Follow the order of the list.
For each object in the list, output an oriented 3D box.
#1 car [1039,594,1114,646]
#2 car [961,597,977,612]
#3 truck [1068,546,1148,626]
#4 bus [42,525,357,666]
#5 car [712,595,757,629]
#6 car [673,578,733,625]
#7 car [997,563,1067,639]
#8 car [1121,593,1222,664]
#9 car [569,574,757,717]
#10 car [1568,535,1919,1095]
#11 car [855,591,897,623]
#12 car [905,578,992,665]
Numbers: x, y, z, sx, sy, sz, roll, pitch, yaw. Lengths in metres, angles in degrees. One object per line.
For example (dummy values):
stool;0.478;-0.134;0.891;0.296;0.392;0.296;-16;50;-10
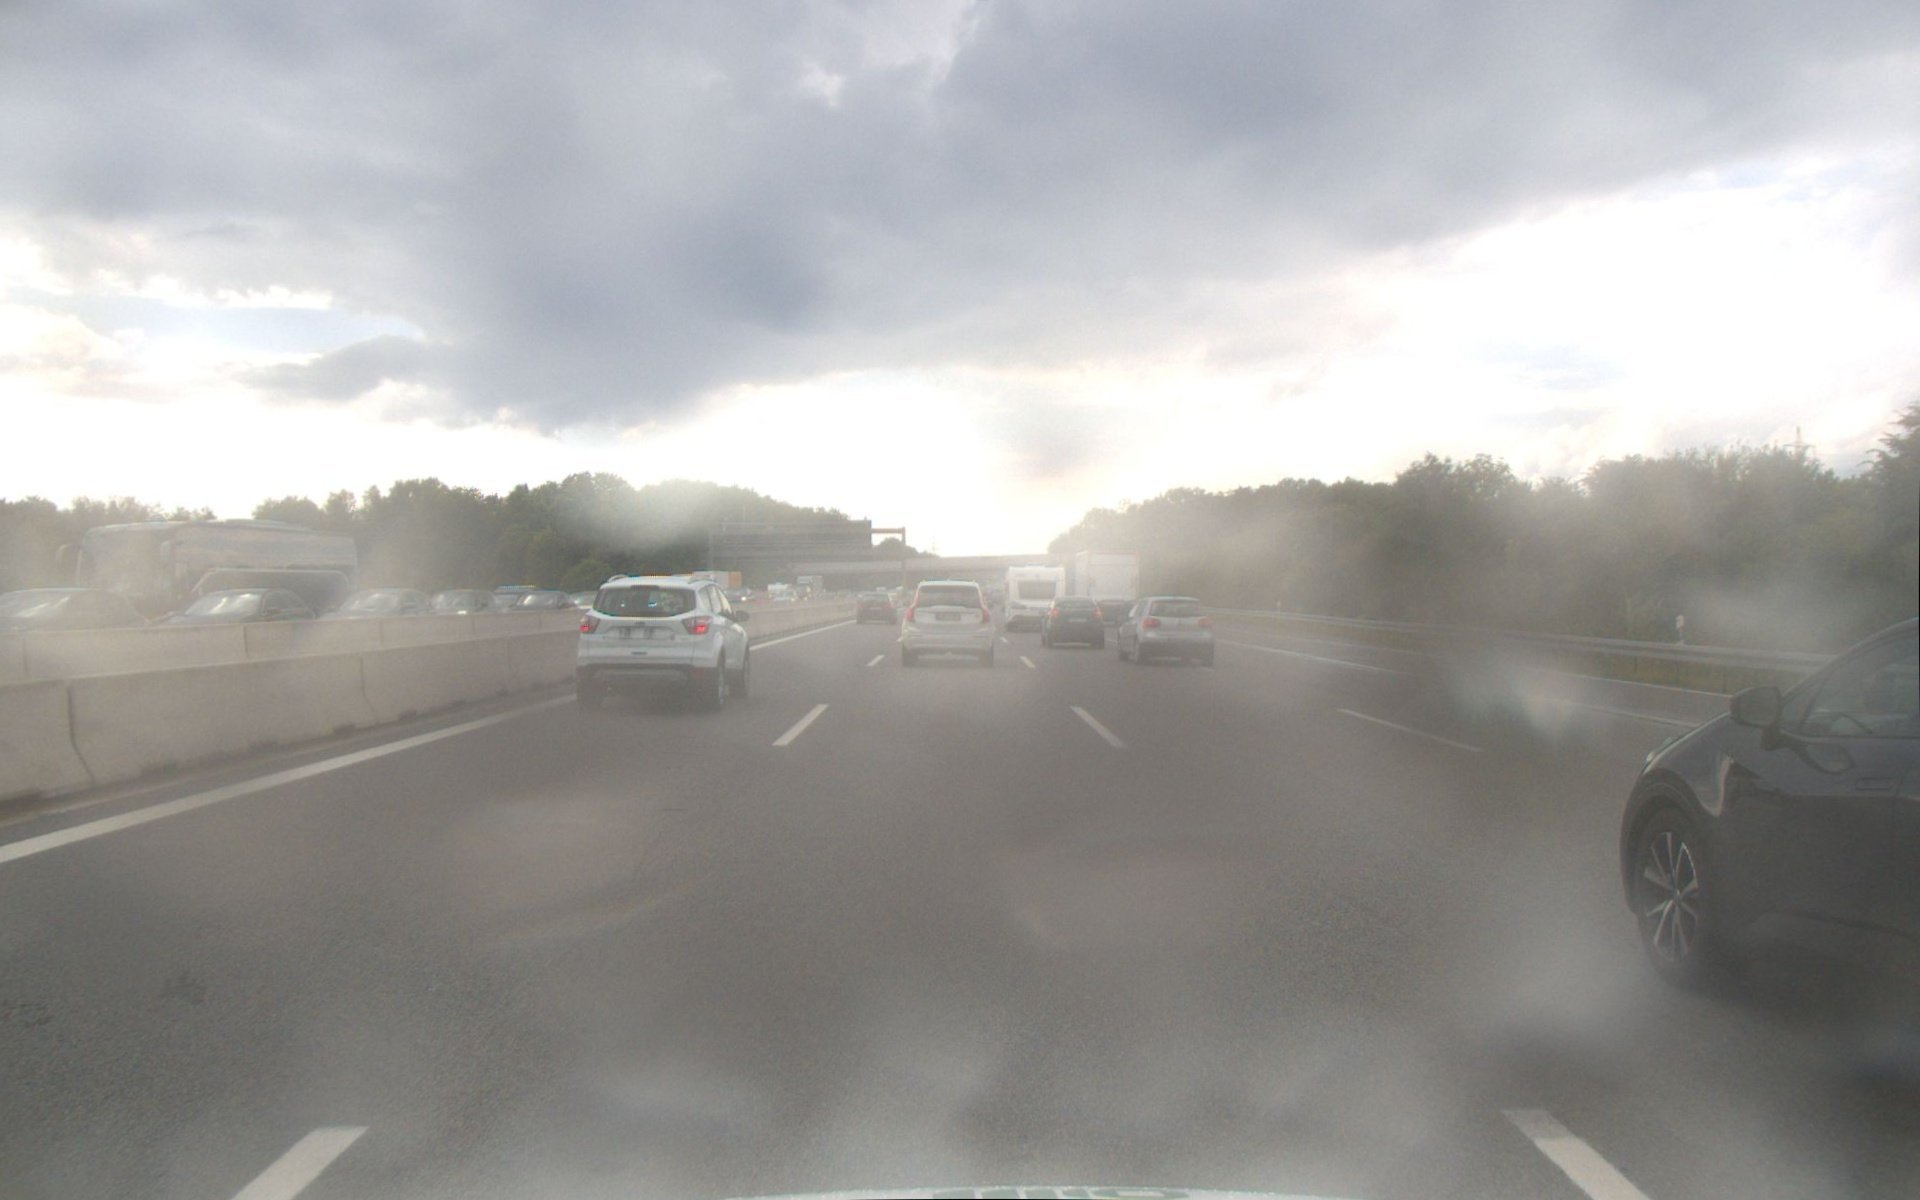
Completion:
car;3.327;0.556;48.079;1.846;1.431;4.282;0;0;0
car;1.069;0.536;200.179;1.843;1.715;3.998;0;0;-2
truck;7.314;-0.666;83.098;3.069;3.774;9.846;0;0;-1
bus;-21.281;-0.137;47.757;2.632;3.444;13.997;0;0;0
car;-13.317;0.712;97.886;1.952;1.937;4.503;0;0;0
car;-11.835;0.052;76.503;1.953;2.049;5.418;0;0;0
car;2.912;0.023;68.536;2.514;2.946;7.533;0;0;0
car;4.746;0.606;37.567;1.758;1.503;4.037;0;0;0
car;-3.867;0.524;22.310;1.778;1.719;4.850;0;1;-2
car;3.685;0.636;5.244;1.745;1.641;4.597;0;0;-1
car;-4.016;0.323;79.484;1.744;1.507;4.353;0;0;1
car;-0.259;0.421;35.420;1.744;1.746;4.352;0;0;-1
